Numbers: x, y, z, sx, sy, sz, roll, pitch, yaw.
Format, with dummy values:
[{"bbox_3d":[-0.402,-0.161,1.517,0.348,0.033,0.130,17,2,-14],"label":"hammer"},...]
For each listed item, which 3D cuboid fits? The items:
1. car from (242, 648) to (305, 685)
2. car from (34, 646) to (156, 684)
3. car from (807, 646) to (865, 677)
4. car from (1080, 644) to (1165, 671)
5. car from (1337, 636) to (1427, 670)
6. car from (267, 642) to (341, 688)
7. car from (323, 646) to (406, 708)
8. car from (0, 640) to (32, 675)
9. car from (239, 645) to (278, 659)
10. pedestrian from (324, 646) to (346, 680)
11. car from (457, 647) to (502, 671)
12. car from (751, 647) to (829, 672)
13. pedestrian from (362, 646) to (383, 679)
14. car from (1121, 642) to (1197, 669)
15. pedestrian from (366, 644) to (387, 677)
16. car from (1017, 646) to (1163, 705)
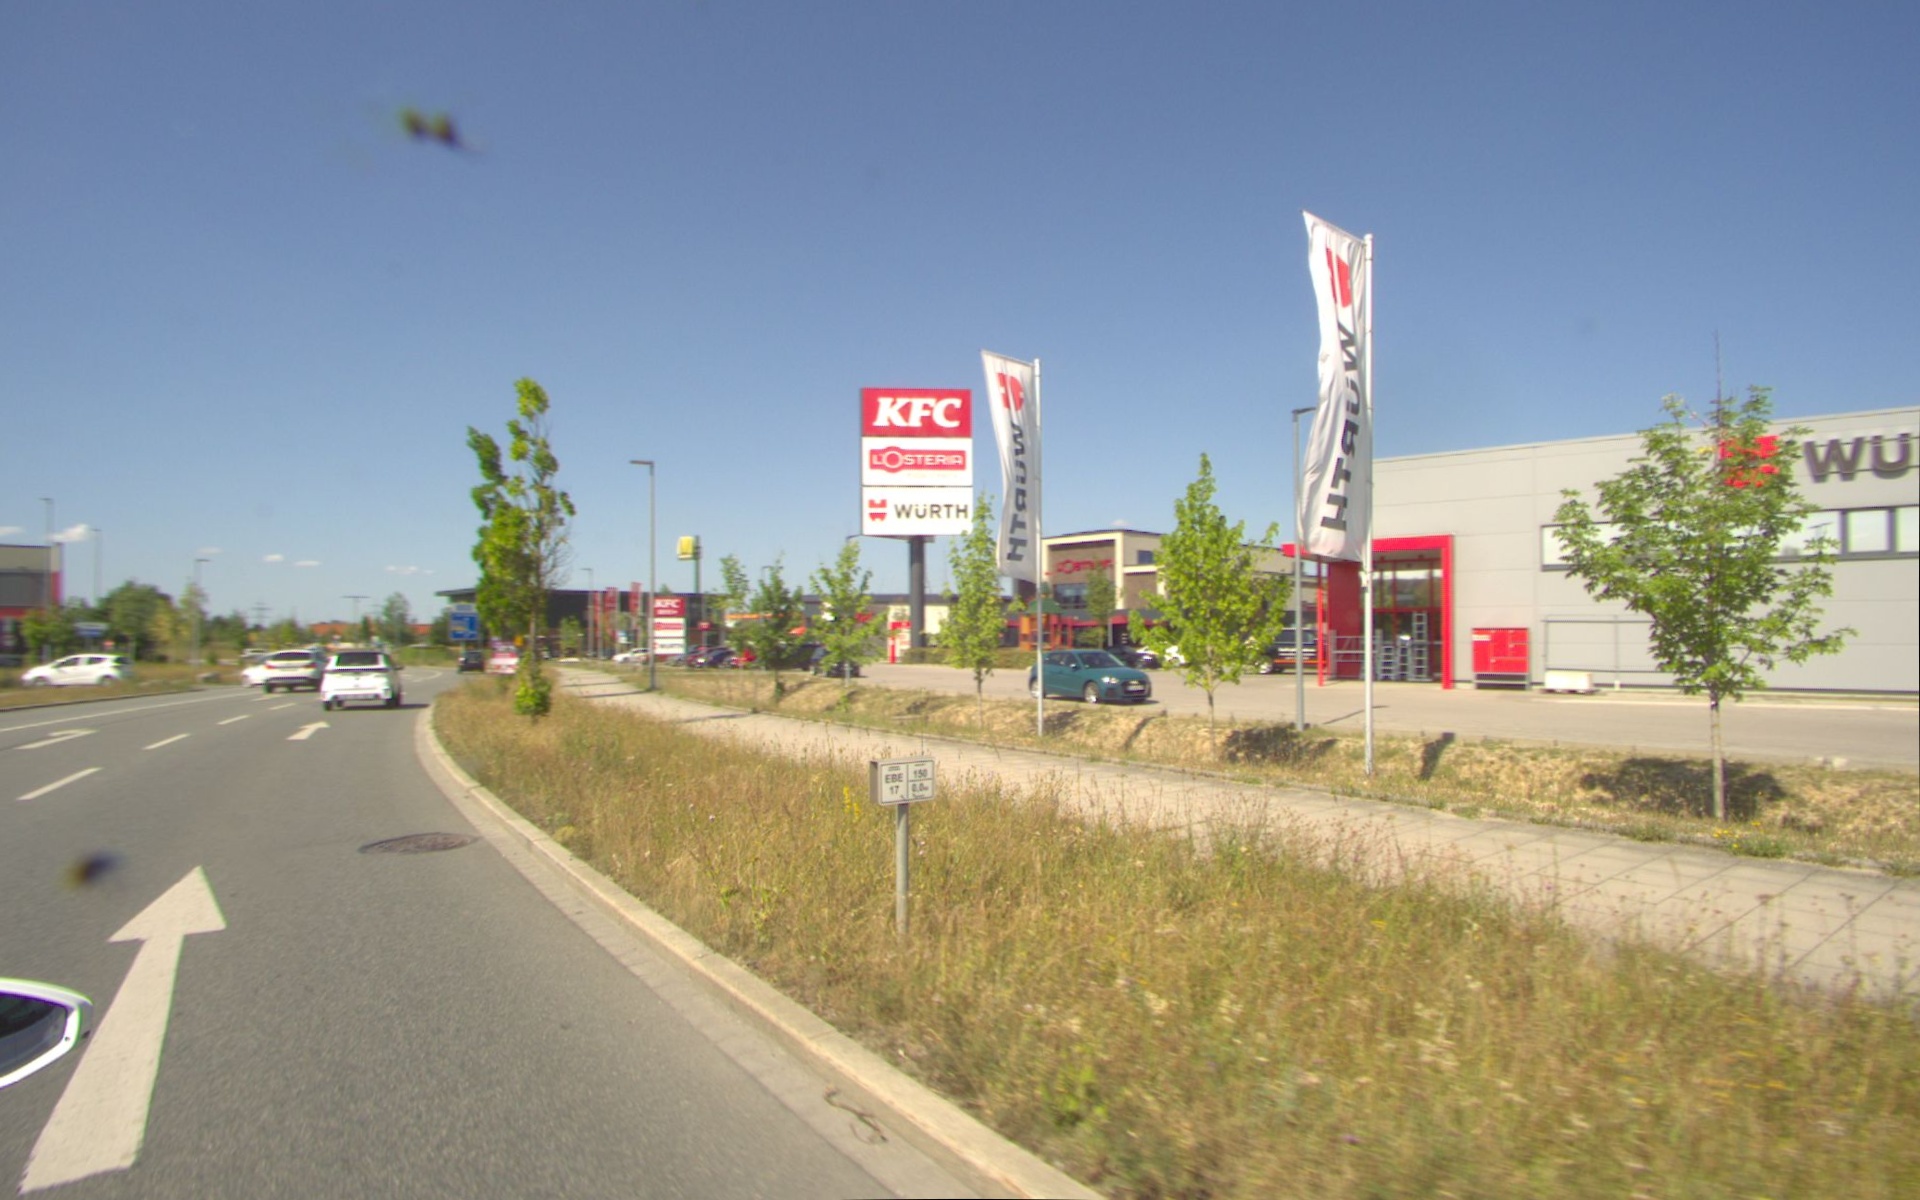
[{"bbox_3d":[-30.844,2.943,44.939,1.725,1.571,3.747,0,-2,-44],"label":"car"},{"bbox_3d":[-38.107,2.842,44.220,3.722,1.571,1.736,0,-2,-24],"label":"car"},{"bbox_3d":[-6.213,3.018,49.632,1.847,1.484,4.354,0,-3,-21],"label":"car"},{"bbox_3d":[8.554,3.018,52.853,4.099,1.354,1.821,-2,-3,35],"label":"car"},{"bbox_3d":[21.565,2.705,51.216,3.950,1.637,1.770,-2,-3,37],"label":"car"},{"bbox_3d":[-24.454,2.370,37.461,1.714,1.571,4.554,0,-2,-25],"label":"car"},{"bbox_3d":[-15.422,1.944,26.055,1.455,1.509,2.992,1,-3,-23],"label":"car"},{"bbox_3d":[-58.991,3.468,60.132,4.423,2.064,1.989,0,-2,-32],"label":"car"},{"bbox_3d":[-94.959,7.031,135.596,1.966,1.750,3.992,-1,-2,22],"label":"car"},{"bbox_3d":[-31.586,3.158,50.583,0.653,1.685,0.711,0,-1,3],"label":"pedestrian"},{"bbox_3d":[-32.596,3.985,68.060,1.963,1.570,3.841,0,-2,-13],"label":"car"},{"bbox_3d":[-10.628,3.683,62.640,4.467,1.477,1.992,1,-3,-28],"label":"car"},{"bbox_3d":[-30.167,3.189,51.395,0.653,1.685,0.711,0,-1,3],"label":"pedestrian"},{"bbox_3d":[11.298,3.131,56.832,3.868,1.493,1.790,-2,-3,40],"label":"car"},{"bbox_3d":[-30.378,3.146,52.167,0.653,1.685,0.711,0,-1,3],"label":"pedestrian"},{"bbox_3d":[3.476,1.997,27.474,1.819,1.467,4.207,1,-3,-30],"label":"car"}]
